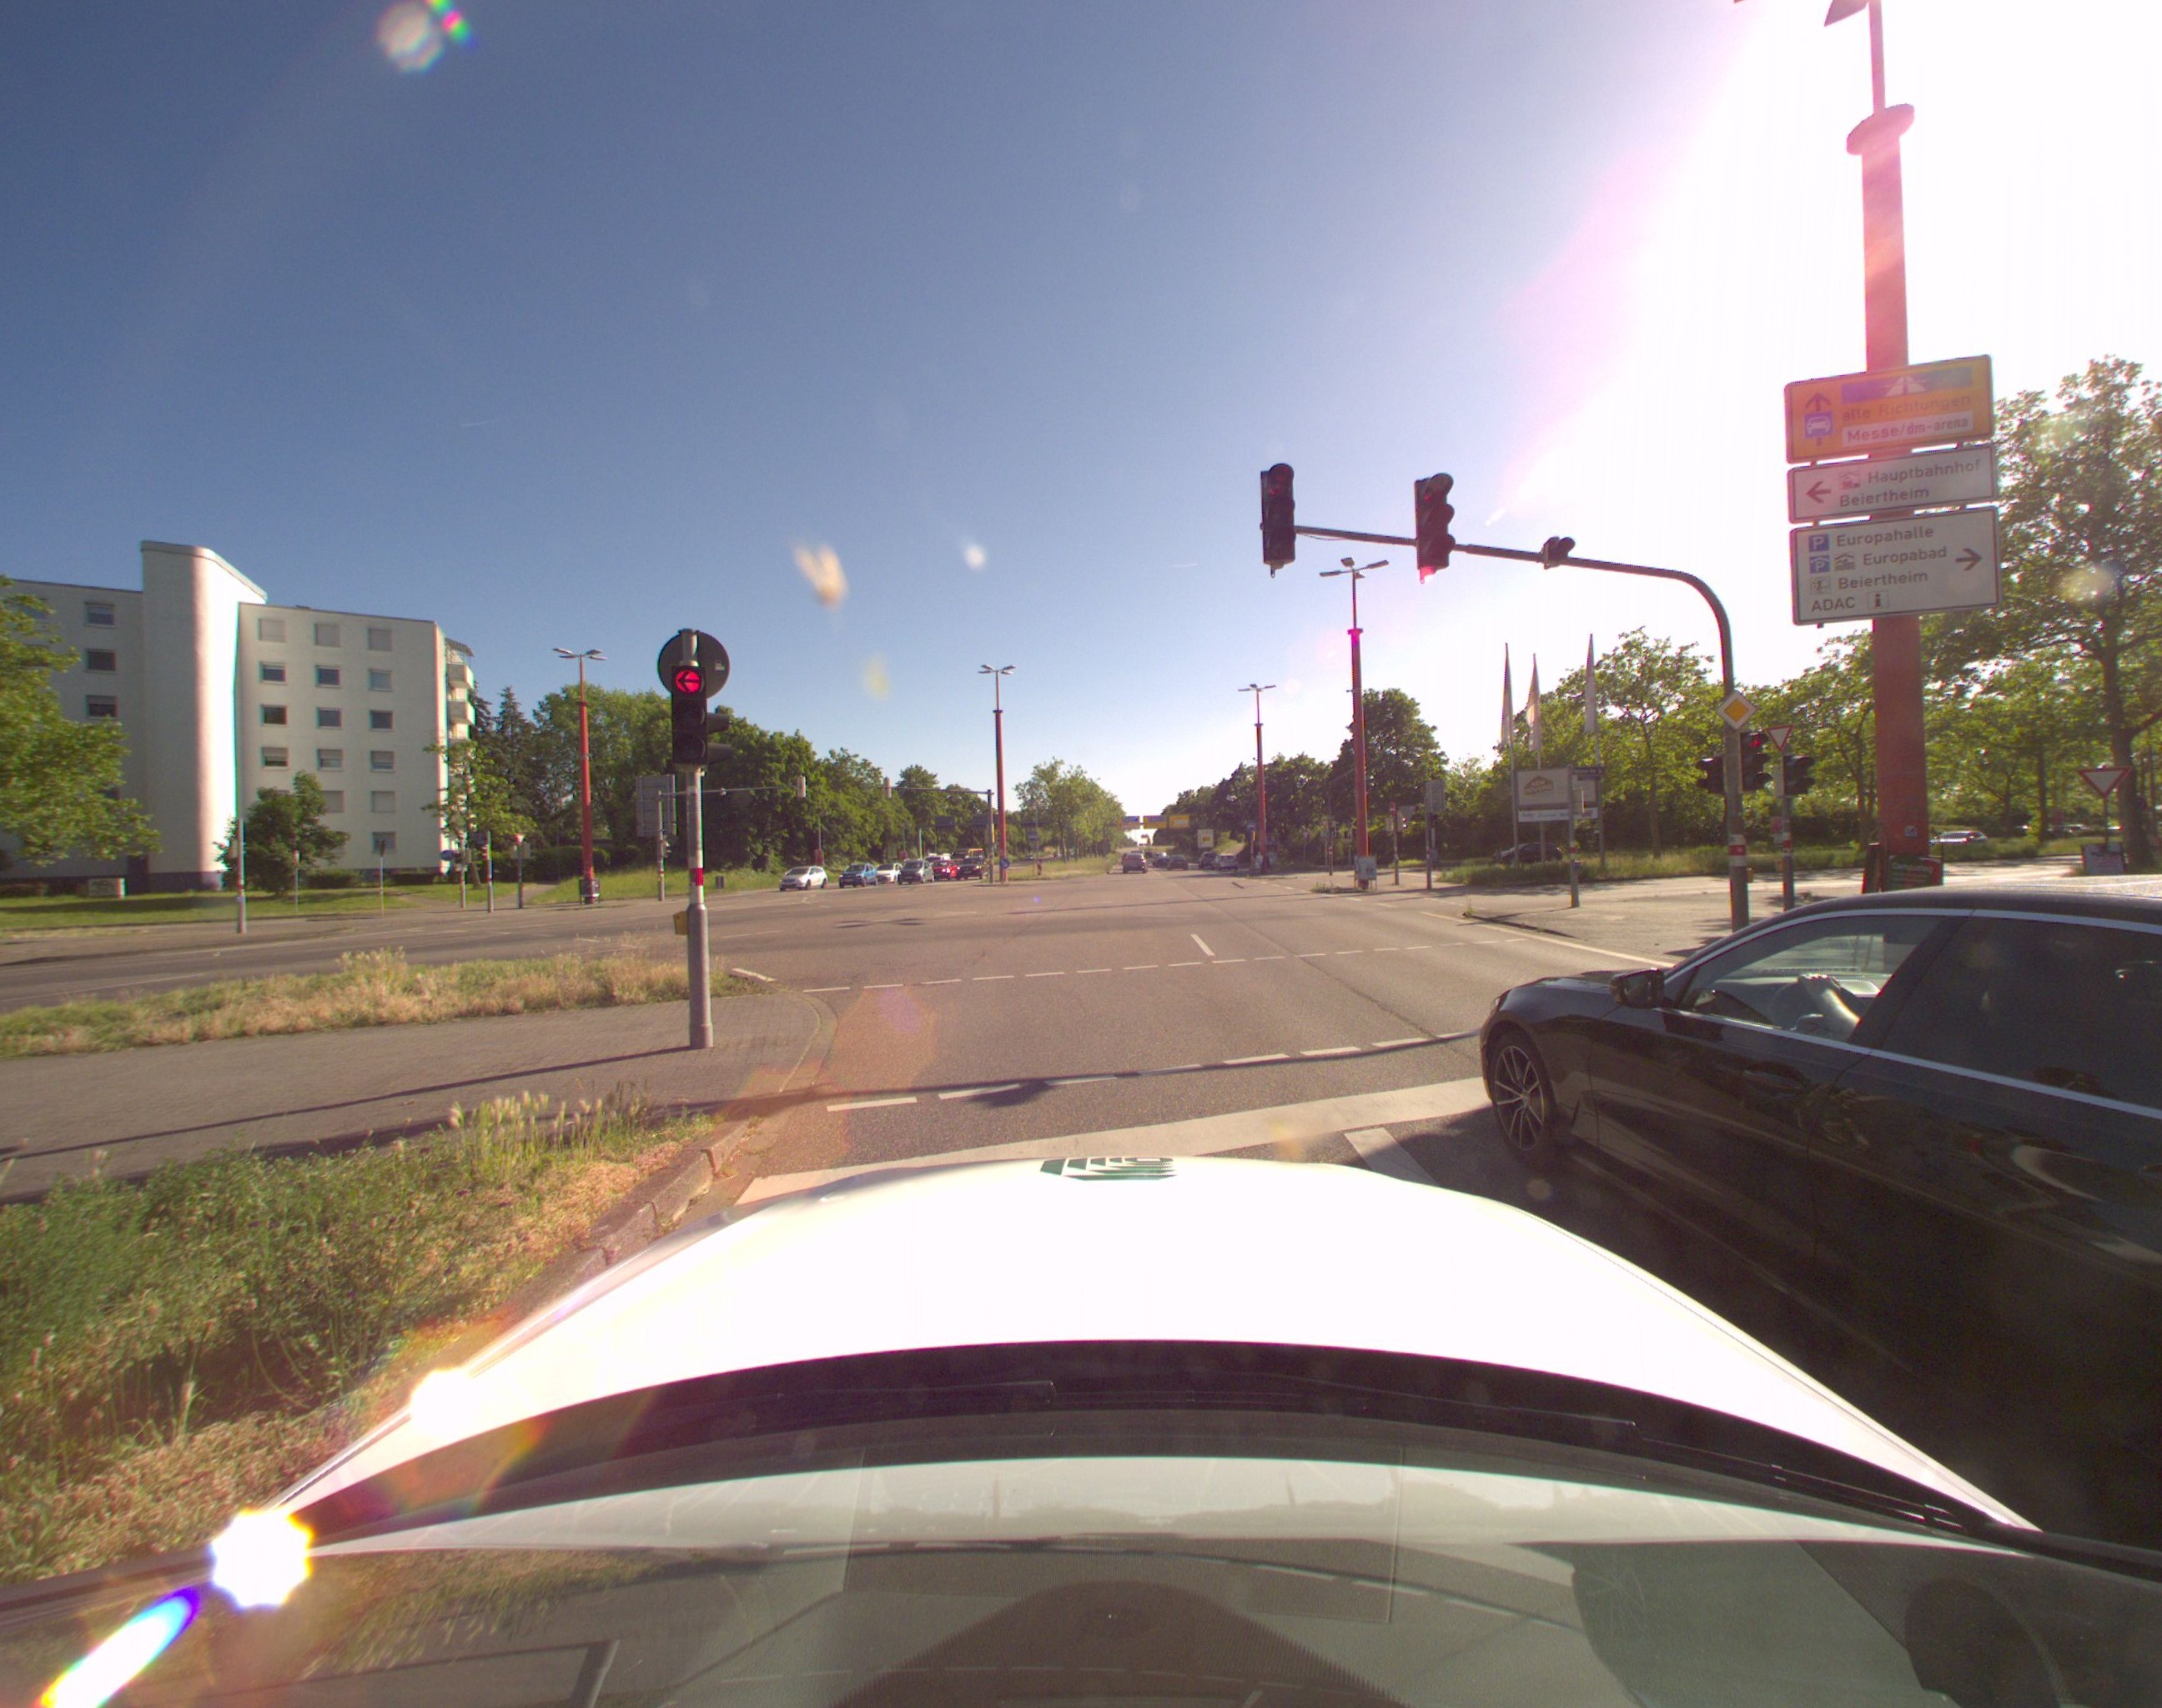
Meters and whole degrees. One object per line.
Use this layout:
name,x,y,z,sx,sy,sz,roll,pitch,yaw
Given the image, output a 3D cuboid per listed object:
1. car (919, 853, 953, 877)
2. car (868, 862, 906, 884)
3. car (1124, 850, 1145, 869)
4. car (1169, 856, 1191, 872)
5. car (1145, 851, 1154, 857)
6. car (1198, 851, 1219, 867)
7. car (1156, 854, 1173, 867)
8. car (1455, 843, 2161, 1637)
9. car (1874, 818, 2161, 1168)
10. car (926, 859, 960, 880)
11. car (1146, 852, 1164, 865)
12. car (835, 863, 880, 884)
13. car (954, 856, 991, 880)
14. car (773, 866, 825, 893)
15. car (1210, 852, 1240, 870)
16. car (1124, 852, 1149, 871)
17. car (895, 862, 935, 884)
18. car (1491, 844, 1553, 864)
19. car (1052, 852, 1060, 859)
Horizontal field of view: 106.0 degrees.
car,-12.650,0.963,71.393,1.886,2.026,5.223,0,-1,1
car,-13.669,1.316,57.532,1.733,1.411,3.613,-2,0,1
car,5.157,0.529,78.834,1.839,1.708,4.309,-2,0,2
car,9.168,0.938,74.859,1.749,1.350,4.375,-2,0,10
car,14.988,0.005,179.275,1.674,1.435,4.066,-2,0,1
car,12.935,0.488,82.773,1.771,1.485,4.335,-2,0,4
car,9.222,0.654,90.494,1.752,1.350,4.368,-2,0,4
car,2.928,0.687,2.378,1.861,1.398,4.448,-2,0,4
car,5.681,0.601,2.975,1.732,1.578,4.032,-2,0,3
car,-9.904,1.085,58.670,1.733,1.362,3.613,-2,0,1
car,9.500,0.581,105.136,1.817,1.636,4.251,-2,0,-1
car,-14.085,1.209,51.423,1.733,1.243,3.613,-2,0,1
car,-7.474,0.940,56.383,1.812,1.508,4.002,-2,0,2
car,-17.620,1.574,51.050,1.754,1.532,3.936,-2,0,1
car,12.598,0.602,71.565,1.675,1.467,3.989,-2,0,-4
car,4.412,0.554,64.697,1.822,1.422,4.441,-2,0,4
car,-10.601,1.186,52.310,1.733,1.243,3.613,-2,0,1
car,29.396,-0.005,54.324,3.443,1.207,1.613,-2,0,-13
car,-6.955,0.431,228.277,1.834,1.666,4.001,0,-1,2
